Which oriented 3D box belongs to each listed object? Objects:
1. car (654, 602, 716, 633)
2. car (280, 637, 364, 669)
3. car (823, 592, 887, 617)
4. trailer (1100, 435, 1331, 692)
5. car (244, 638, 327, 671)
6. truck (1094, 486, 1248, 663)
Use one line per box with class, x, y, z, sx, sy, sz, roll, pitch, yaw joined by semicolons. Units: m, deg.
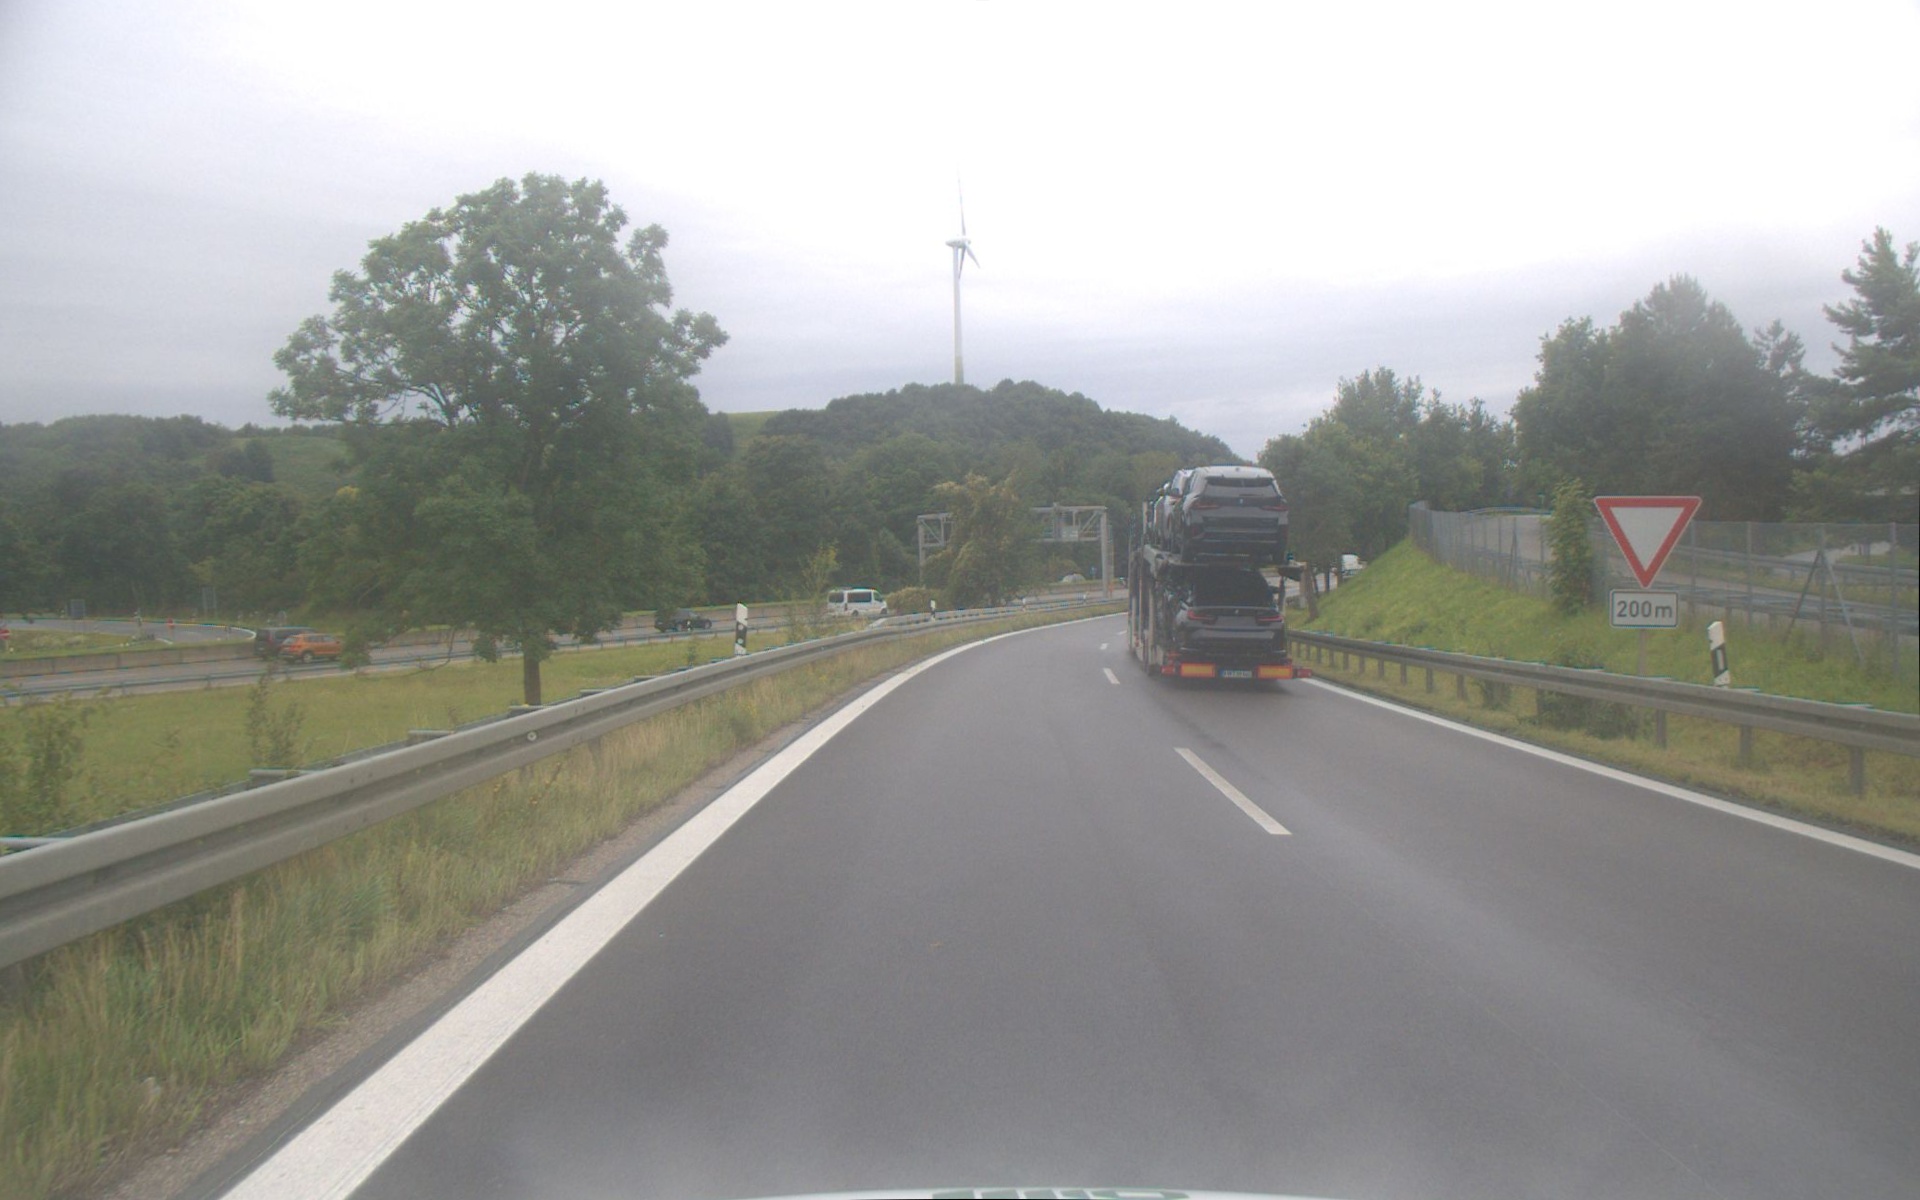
car;-19.347;1.200;116.589;1.960;1.746;3.986;-6;1;36
car;-35.900;2.991;93.127;1.893;1.299;3.986;-6;1;36
car;-8.089;0.319;127.738;1.960;1.747;5.304;-1;1;36
trailer;4.634;-0.600;32.752;3.376;4.069;12.032;1;0;4
car;-38.985;3.128;95.639;1.962;1.690;3.982;-1;0;38
truck;5.397;-0.591;44.240;3.323;4.069;10.852;1;0;4
